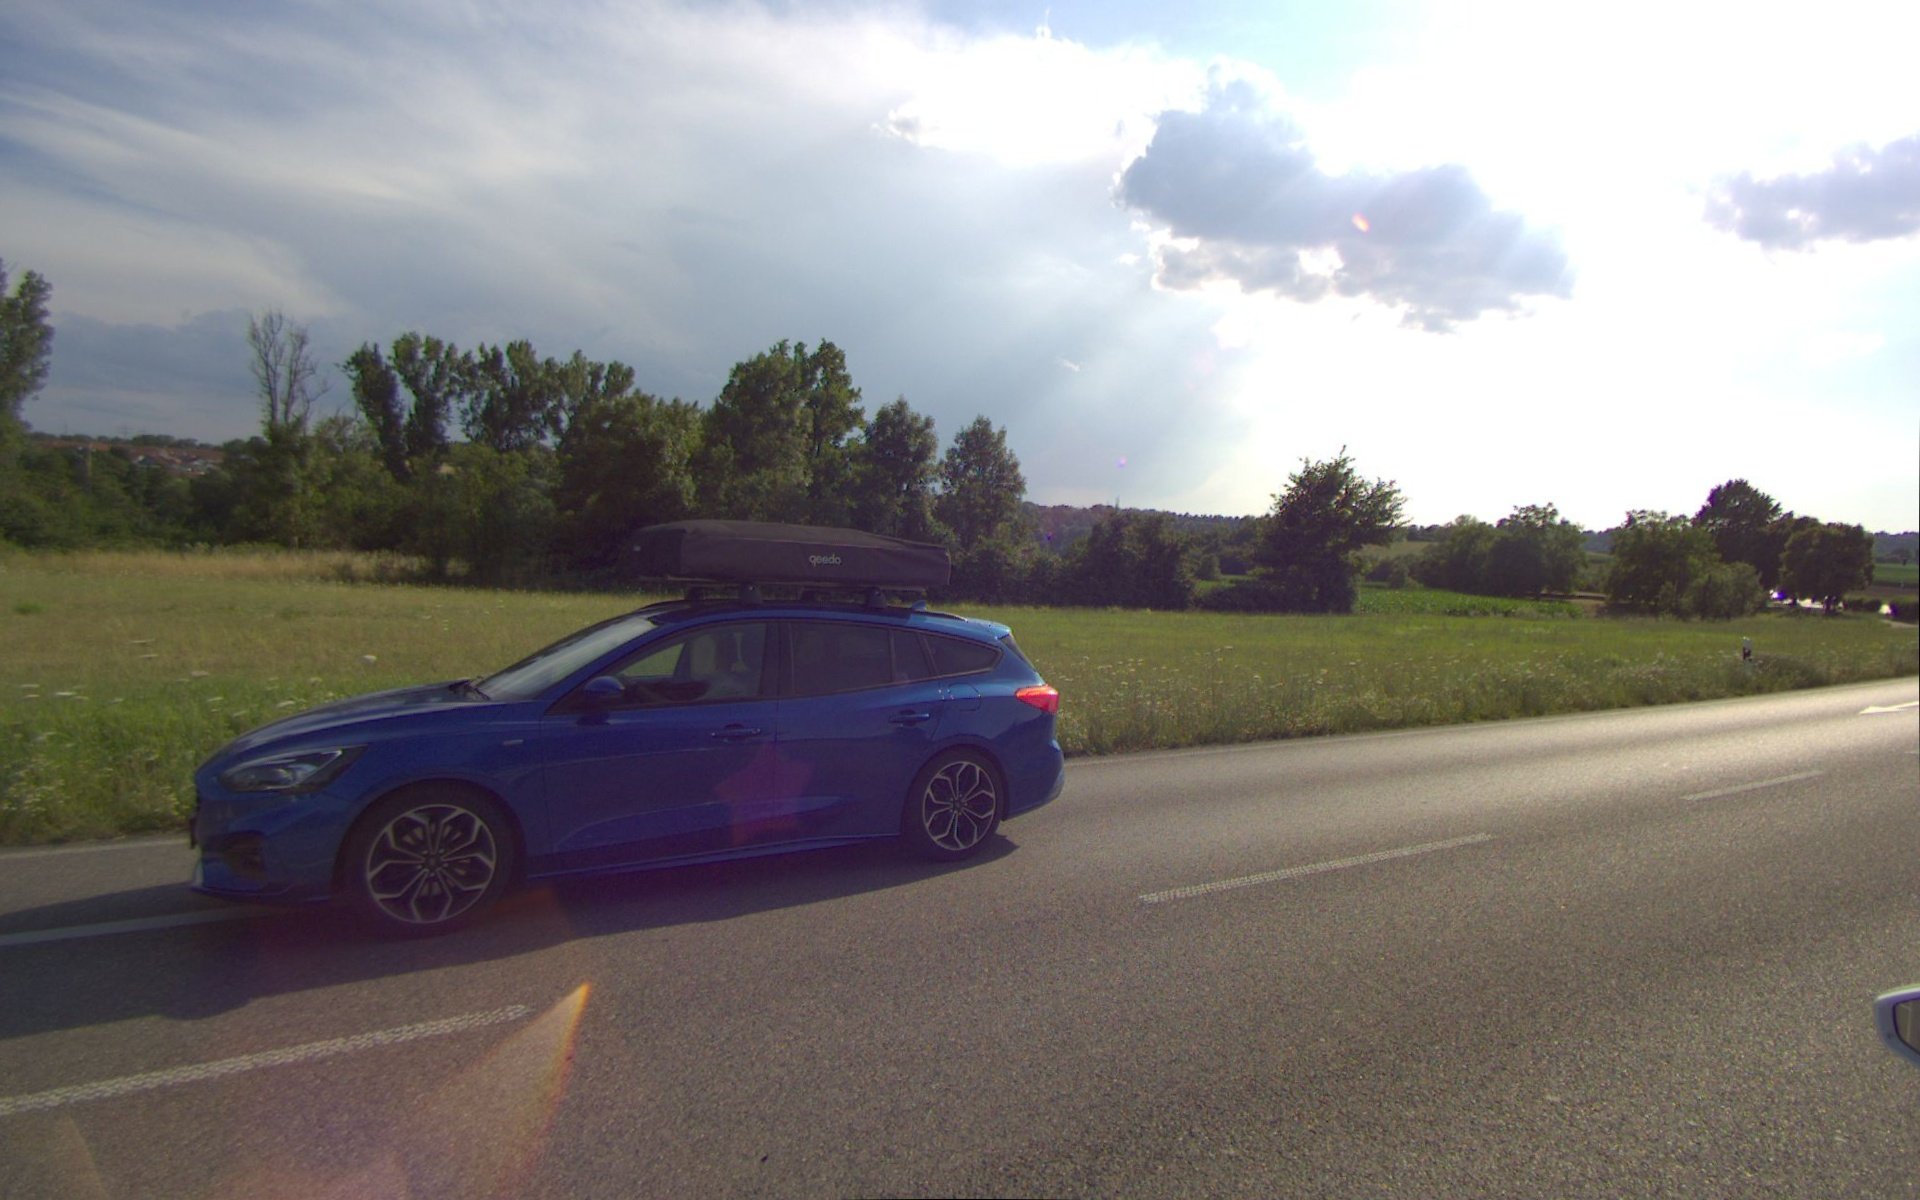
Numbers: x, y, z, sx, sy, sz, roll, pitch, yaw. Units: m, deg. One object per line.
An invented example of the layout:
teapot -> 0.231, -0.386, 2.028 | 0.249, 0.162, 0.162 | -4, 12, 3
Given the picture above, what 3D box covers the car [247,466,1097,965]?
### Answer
car -> -1.398, 0.475, 5.760 | 4.290, 1.907, 1.714 | 1, -1, -34
